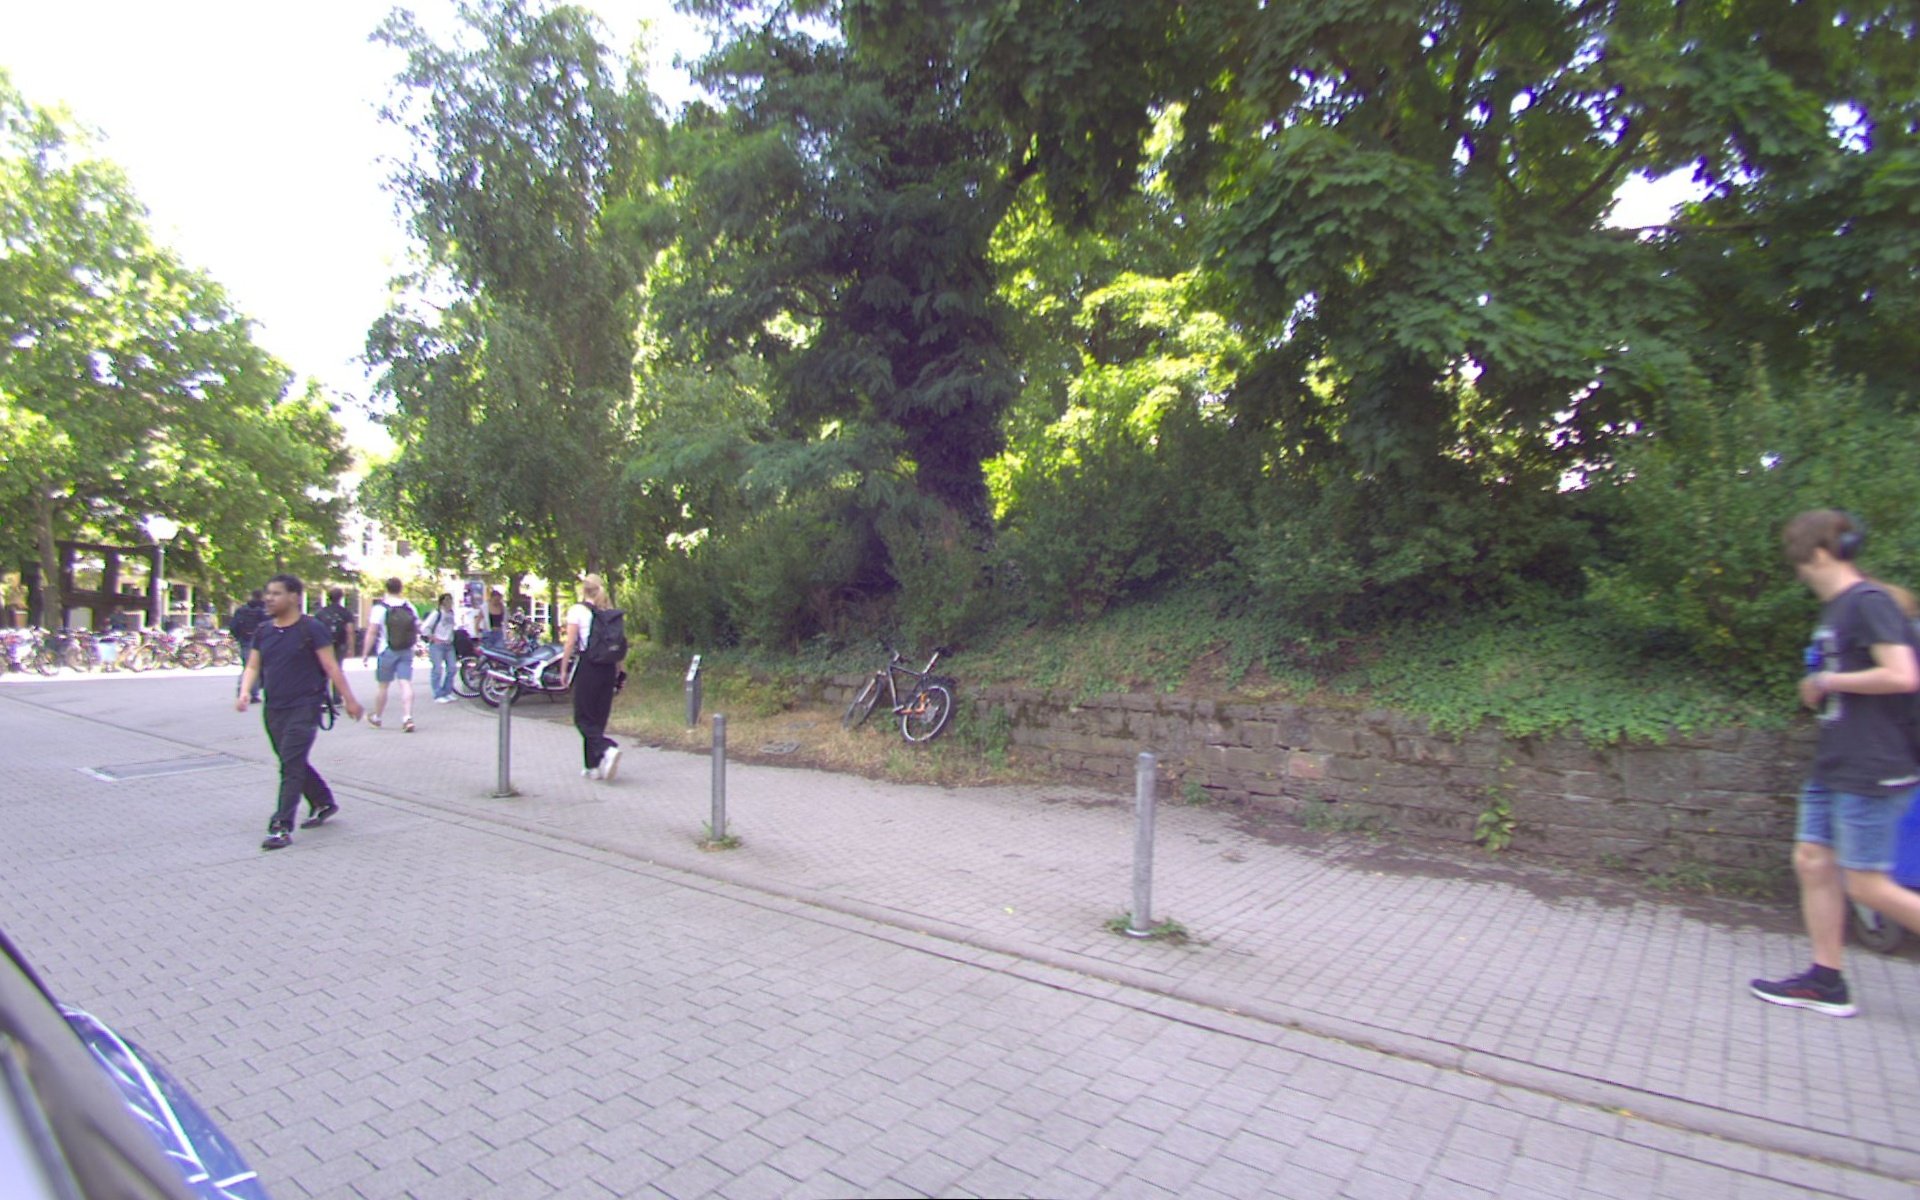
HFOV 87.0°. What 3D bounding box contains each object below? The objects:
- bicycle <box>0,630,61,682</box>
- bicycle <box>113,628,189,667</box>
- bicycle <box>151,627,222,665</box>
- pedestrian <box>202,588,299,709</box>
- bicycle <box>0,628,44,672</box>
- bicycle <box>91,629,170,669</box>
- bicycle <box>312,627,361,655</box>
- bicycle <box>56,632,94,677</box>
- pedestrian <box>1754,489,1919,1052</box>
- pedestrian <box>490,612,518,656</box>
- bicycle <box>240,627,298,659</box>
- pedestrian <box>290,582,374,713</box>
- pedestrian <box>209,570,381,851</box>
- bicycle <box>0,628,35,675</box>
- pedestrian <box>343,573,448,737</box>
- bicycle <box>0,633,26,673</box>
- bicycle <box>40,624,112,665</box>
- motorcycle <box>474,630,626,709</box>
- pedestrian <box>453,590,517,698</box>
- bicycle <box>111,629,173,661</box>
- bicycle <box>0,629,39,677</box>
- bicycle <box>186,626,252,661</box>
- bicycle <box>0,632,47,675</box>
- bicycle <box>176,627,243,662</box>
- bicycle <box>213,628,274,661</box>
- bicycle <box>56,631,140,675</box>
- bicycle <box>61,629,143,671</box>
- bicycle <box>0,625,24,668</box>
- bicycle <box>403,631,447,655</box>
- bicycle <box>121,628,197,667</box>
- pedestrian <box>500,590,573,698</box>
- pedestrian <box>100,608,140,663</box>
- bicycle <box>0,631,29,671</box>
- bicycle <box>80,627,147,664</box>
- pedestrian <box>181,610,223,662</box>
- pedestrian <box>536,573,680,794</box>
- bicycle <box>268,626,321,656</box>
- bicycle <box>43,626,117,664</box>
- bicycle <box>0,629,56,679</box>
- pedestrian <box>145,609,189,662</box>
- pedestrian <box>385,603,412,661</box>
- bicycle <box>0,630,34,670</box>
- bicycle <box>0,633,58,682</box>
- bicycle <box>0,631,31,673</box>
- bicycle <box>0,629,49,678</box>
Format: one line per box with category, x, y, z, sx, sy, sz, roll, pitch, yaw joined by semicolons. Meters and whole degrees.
bicycle;-22.197;1.305;23.686;0.472;1.168;1.682;-1;-1;29
bicycle;-23.897;1.391;29.921;1.670;1.092;0.475;0;-1;-20
bicycle;-23.735;1.403;31.062;1.671;1.092;0.475;0;-1;-16
pedestrian;-11.436;0.761;16.349;0.875;1.871;1.033;-1;0;-3
bicycle;-26.056;1.374;27.562;0.469;1.166;1.694;-1;-1;11
bicycle;-23.426;1.372;28.602;1.670;1.092;0.475;0;-1;-16
bicycle;-24.784;1.620;40.245;1.676;1.092;0.474;0;-1;1
bicycle;-22.267;1.357;25.457;1.699;1.092;0.501;-1;-1;42
pedestrian;3.295;0.527;3.322;1.018;1.741;0.677;0;0;34
pedestrian;-18.842;1.396;41.811;0.759;1.817;0.984;-1;-1;-2
bicycle;-24.290;1.500;35.581;1.673;1.092;0.475;0;-1;-7
pedestrian;-9.359;0.682;15.084;1.118;1.887;0.677;0;0;34
pedestrian;-4.427;0.687;6.804;0.675;1.737;0.906;-1;0;-12
bicycle;-24.757;1.321;25.821;0.471;1.177;1.687;-1;-1;21
pedestrian;-6.871;0.641;12.325;1.080;1.895;0.718;0;0;34
bicycle;-25.664;1.416;26.681;0.468;1.026;1.698;-1;-1;3
bicycle;-28.062;1.401;32.155;0.500;1.229;1.684;-1;-1;27
motorcycle;-6.005;1.014;14.889;1.993;1.055;0.475;-2;-1;-9
pedestrian;-7.864;0.729;16.790;0.721;1.737;0.686;-1;-2;2
bicycle;-29.353;1.617;36.331;1.671;1.116;0.504;0;-1;-16
bicycle;-24.352;1.340;25.460;0.471;1.177;1.685;-1;-1;25
bicycle;-24.338;1.422;33.261;1.671;1.092;0.475;0;-1;-16
bicycle;-25.162;1.413;26.752;0.468;1.070;1.698;-1;-1;3
bicycle;-23.895;1.412;32.235;1.671;1.092;0.475;0;-1;-16
bicycle;-24.302;1.512;34.340;1.673;1.092;0.475;0;-1;-7
bicycle;-22.712;1.372;26.697;1.672;1.092;0.475;0;-1;-39
bicycle;-23.372;1.353;27.594;1.672;1.092;0.475;0;-1;-38
bicycle;-27.495;1.325;28.434;0.472;1.196;1.684;-1;-1;27
bicycle;-24.985;2.027;47.253;1.833;1.092;0.474;0;-1;1
bicycle;-23.388;1.388;29.579;1.670;1.092;0.475;0;-1;-20
pedestrian;-7.009;0.726;16.787;0.925;1.737;0.677;-1;-2;2
pedestrian;-28.414;1.192;34.234;0.701;1.820;0.769;-1;-1;5
bicycle;-27.077;1.430;28.110;0.579;1.116;1.684;-1;-1;27
bicycle;-29.078;1.561;34.781;1.671;1.209;0.577;0;-1;-16
pedestrian;-25.100;1.184;33.539;0.892;1.716;0.772;0;-1;-15
pedestrian;-2.971;0.659;8.540;0.999;1.741;0.677;0;0;34
bicycle;-24.970;1.536;37.972;1.676;1.092;0.474;0;-1;1
bicycle;-27.300;1.373;31.414;0.500;1.116;1.684;-1;-1;27
bicycle;-23.085;1.317;24.547;0.472;1.177;1.681;-1;-1;32
pedestrian;-26.049;1.165;33.263;0.892;1.716;0.772;0;-1;-15
pedestrian;-18.313;1.045;33.033;0.603;1.849;1.053;0;-1;-21
bicycle;-27.749;1.440;29.003;0.563;1.116;1.684;-1;-1;27
bicycle;-22.548;1.366;23.998;0.472;1.099;1.681;-1;-1;32
bicycle;-26.507;1.428;27.652;0.469;1.116;1.694;-1;-1;11
bicycle;-23.763;1.321;25.061;1.753;1.177;0.475;0;-1;-39
